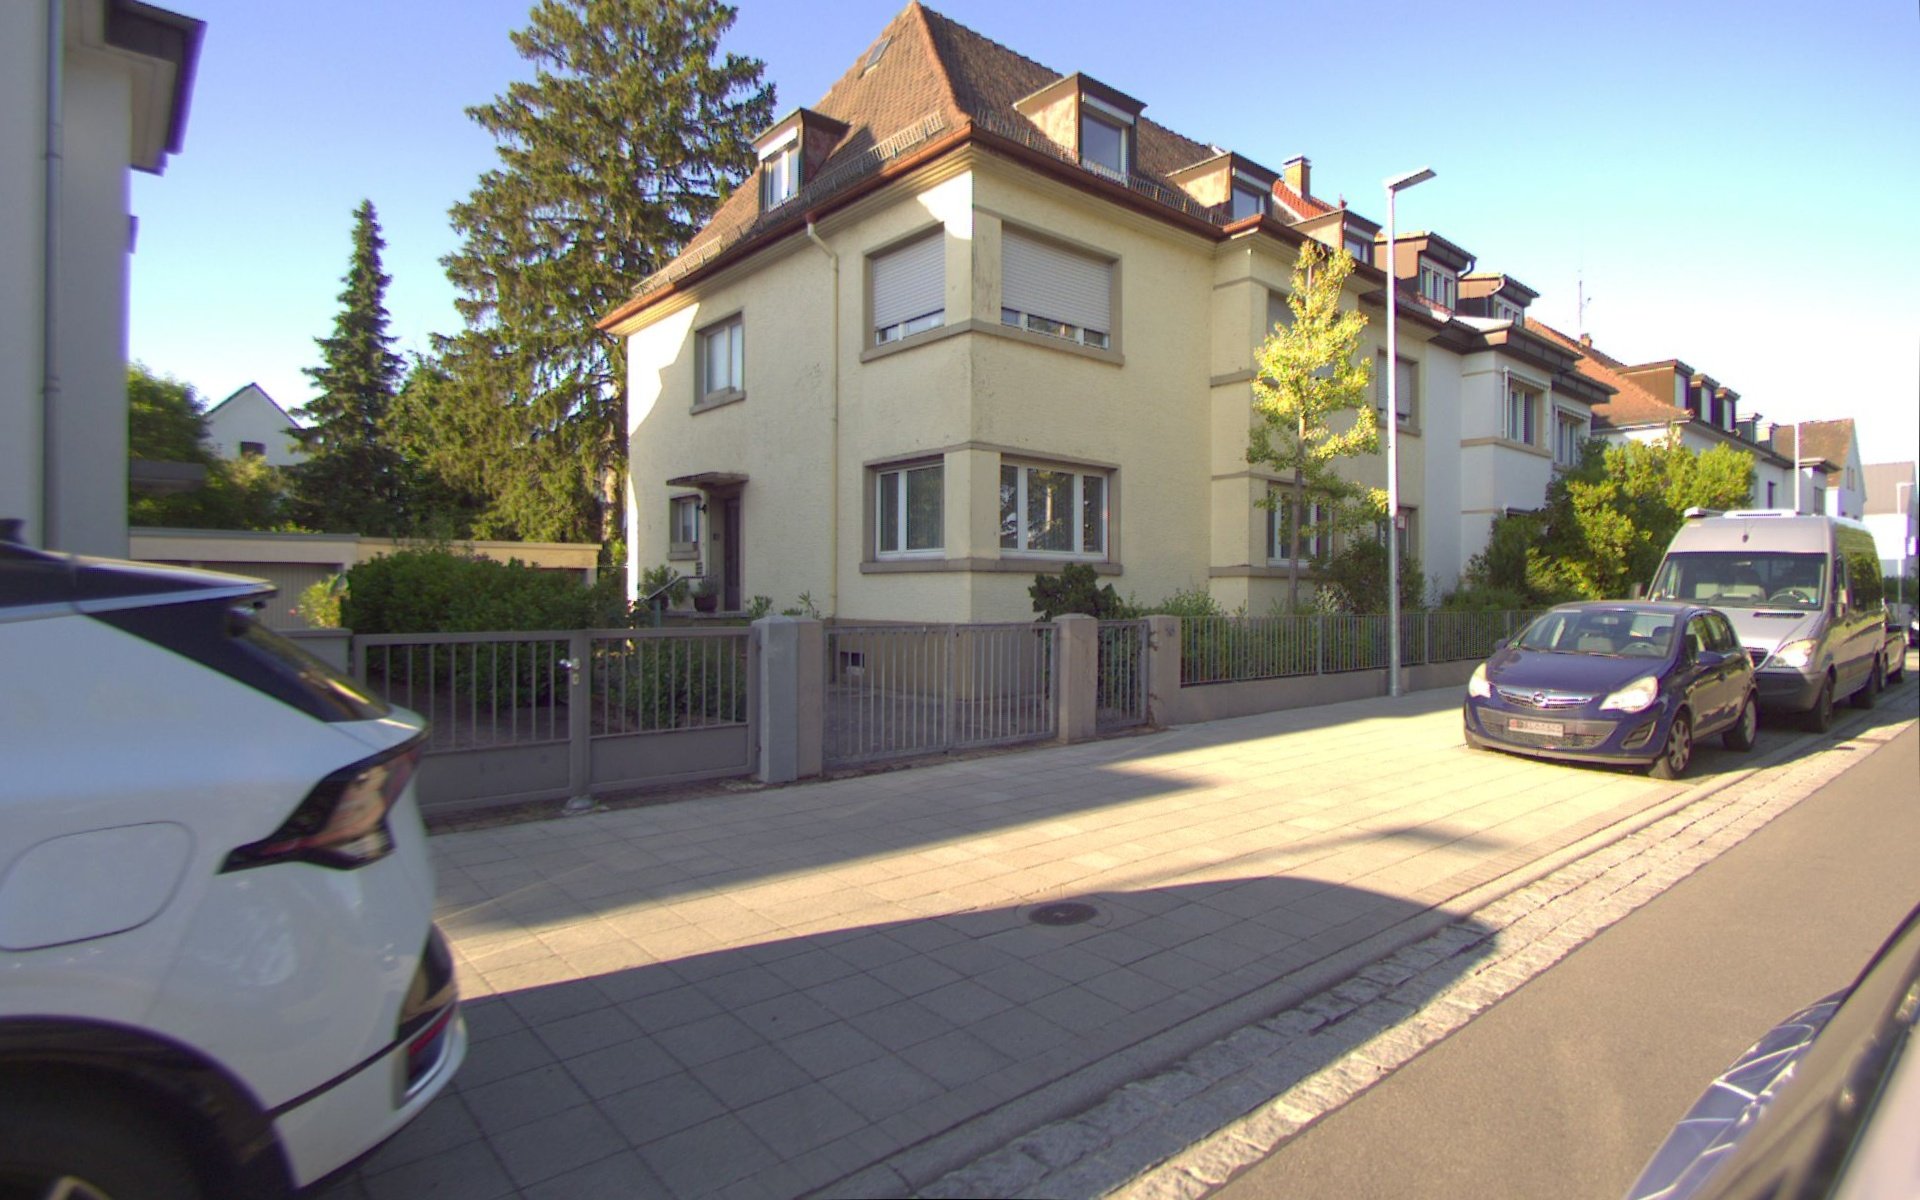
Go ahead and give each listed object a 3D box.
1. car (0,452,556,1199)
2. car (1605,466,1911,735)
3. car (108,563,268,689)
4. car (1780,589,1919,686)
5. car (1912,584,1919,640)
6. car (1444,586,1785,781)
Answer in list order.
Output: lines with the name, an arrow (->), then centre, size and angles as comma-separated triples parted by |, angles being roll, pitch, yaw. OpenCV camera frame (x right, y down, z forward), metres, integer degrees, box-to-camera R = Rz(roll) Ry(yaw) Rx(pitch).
car -> -3.070, 0.593, 1.314 | 4.404, 1.665, 1.780 | 0, 1, -42
car -> 10.900, -0.012, 13.616 | 5.882, 2.890, 2.132 | 0, -1, -41
car -> -11.440, 0.343, 15.008 | 1.698, 1.617, 3.718 | 0, 0, -38
car -> 15.547, 0.568, 17.538 | 3.297, 1.517, 1.467 | 0, 1, -40
car -> 30.744, 0.368, 30.946 | 3.930, 1.660, 1.973 | 0, 2, -41
car -> 6.377, 0.625, 9.700 | 3.933, 1.457, 1.629 | 0, 2, -40
